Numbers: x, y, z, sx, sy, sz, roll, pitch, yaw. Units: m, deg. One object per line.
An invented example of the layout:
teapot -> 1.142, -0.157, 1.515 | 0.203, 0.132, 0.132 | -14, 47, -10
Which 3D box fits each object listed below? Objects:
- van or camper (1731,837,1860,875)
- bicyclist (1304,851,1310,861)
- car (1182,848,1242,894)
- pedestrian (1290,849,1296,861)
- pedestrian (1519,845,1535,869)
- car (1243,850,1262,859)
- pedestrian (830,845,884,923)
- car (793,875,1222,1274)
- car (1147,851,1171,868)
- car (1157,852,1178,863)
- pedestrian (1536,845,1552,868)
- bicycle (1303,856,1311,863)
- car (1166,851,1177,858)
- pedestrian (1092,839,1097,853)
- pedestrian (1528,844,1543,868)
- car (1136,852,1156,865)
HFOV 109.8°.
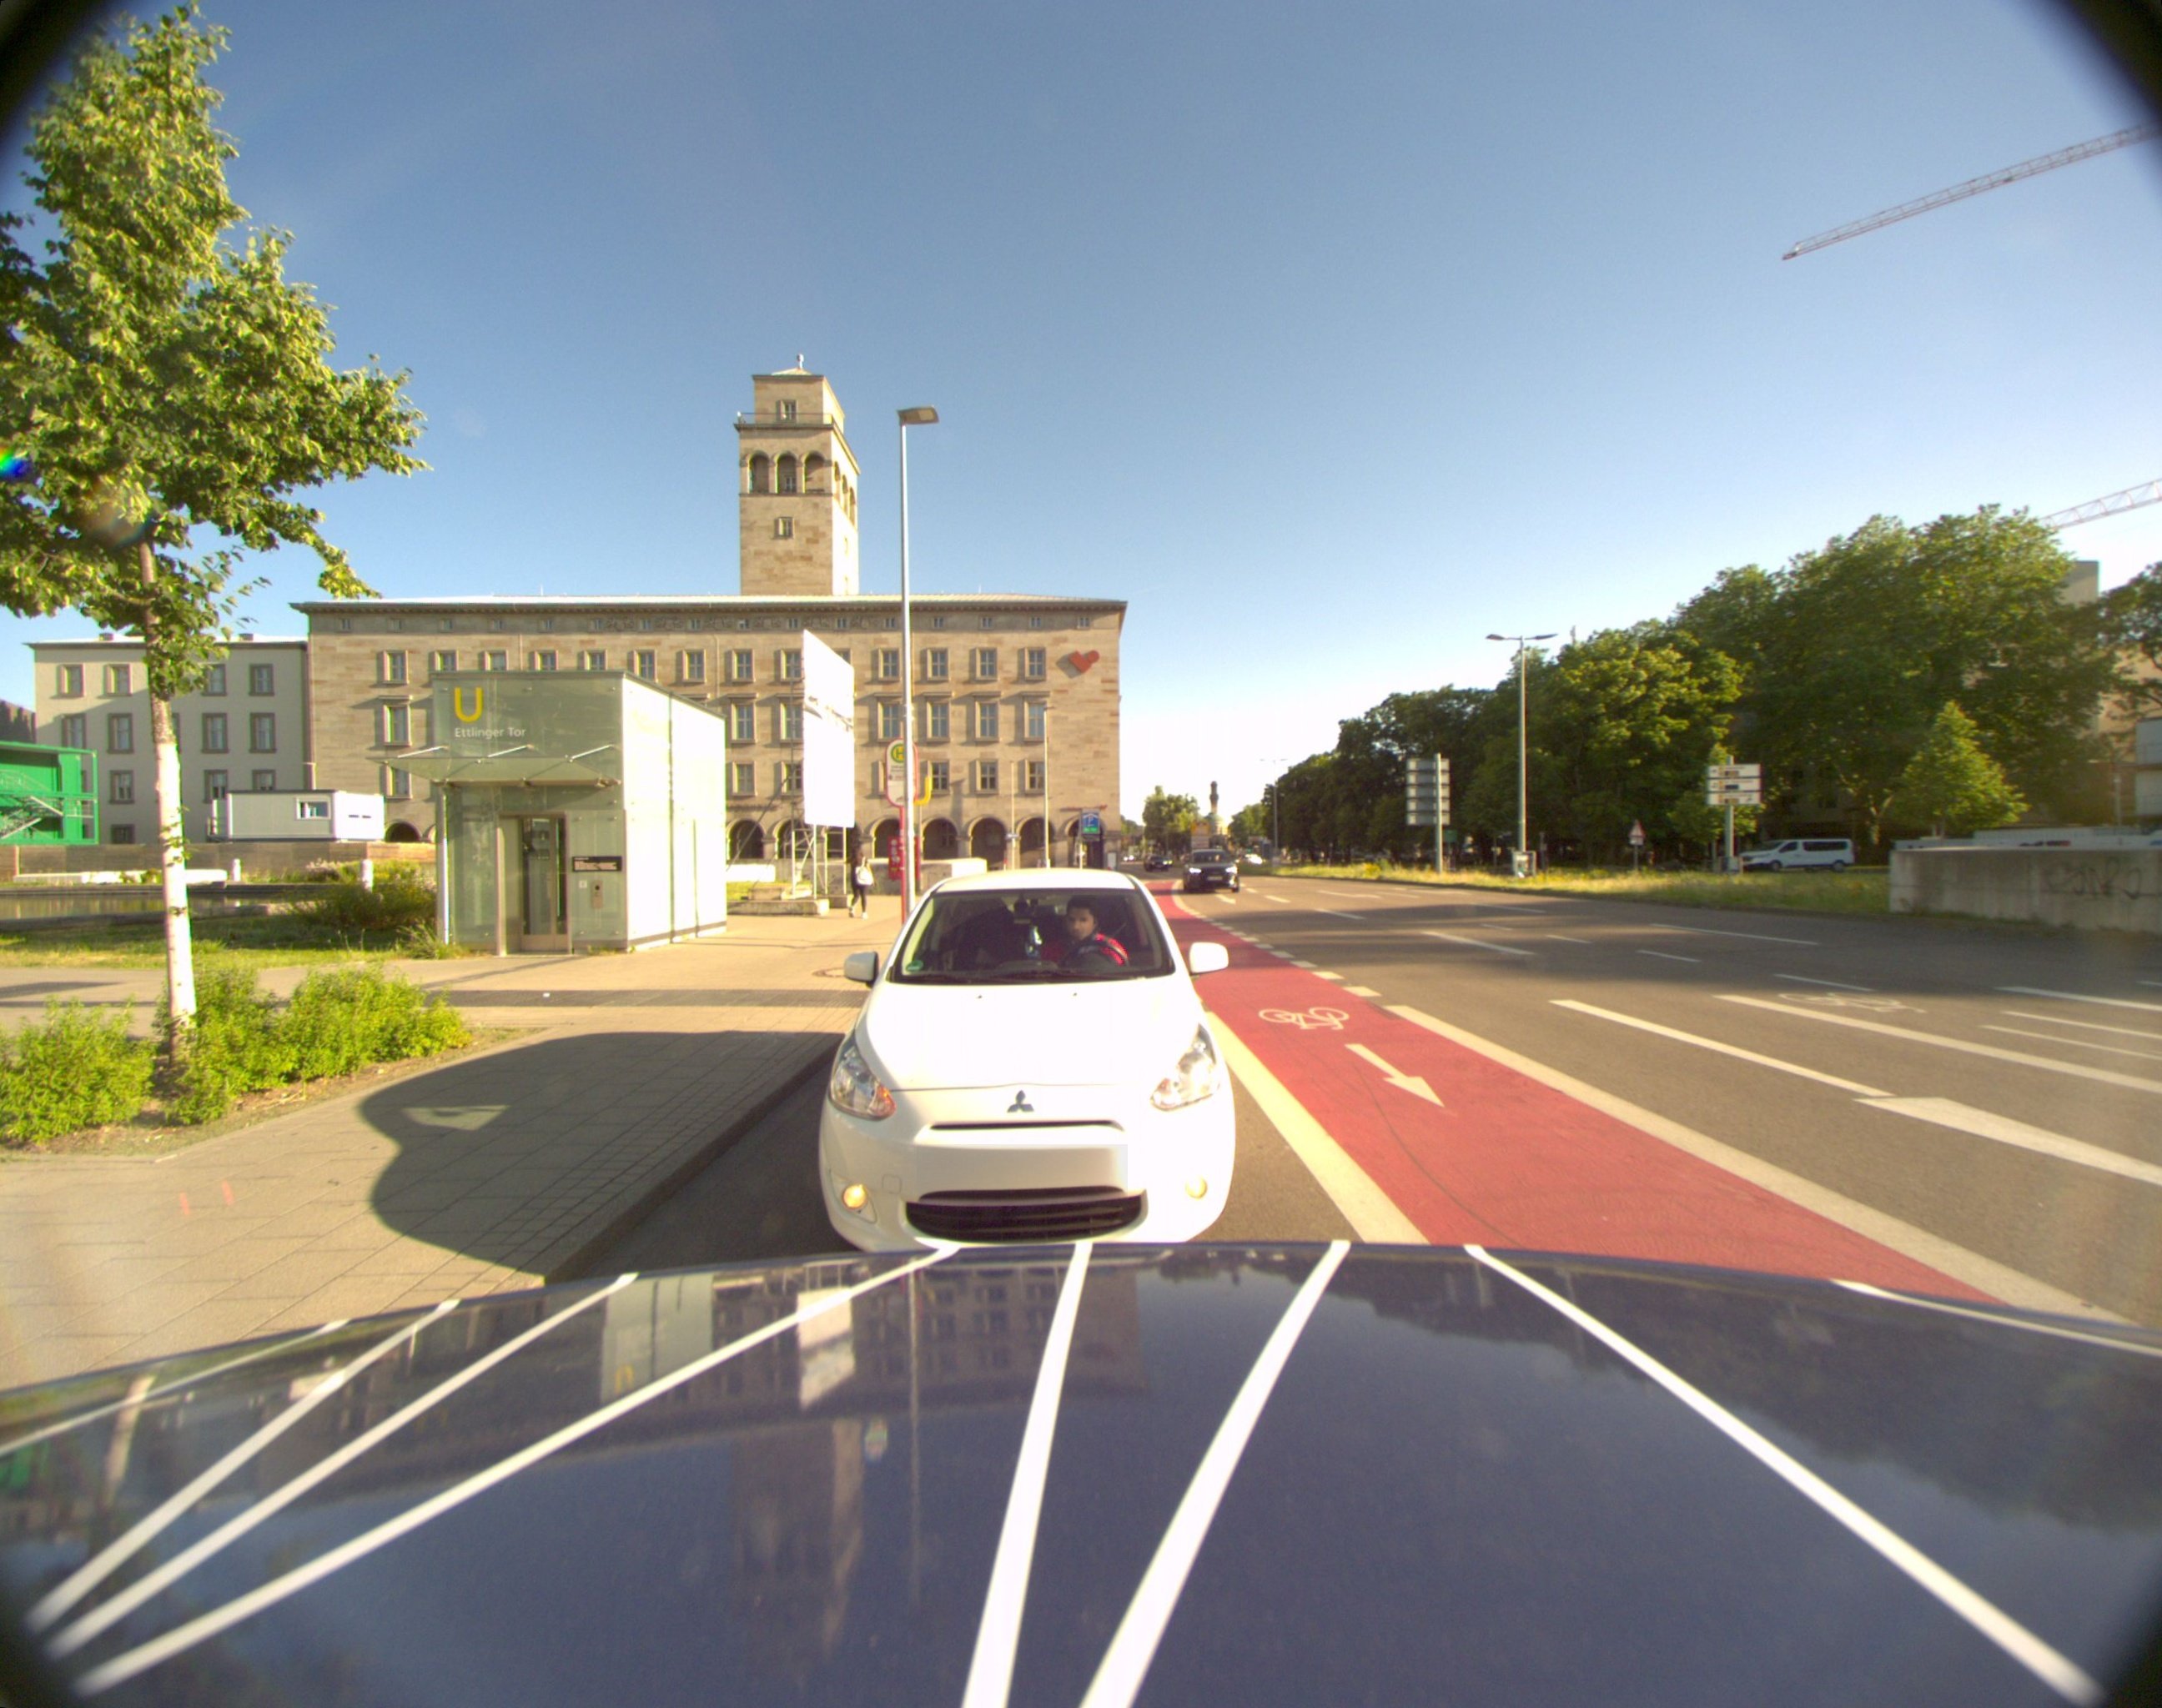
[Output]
van or camper -> 42.300, 0.086, 45.079 | 5.649, 2.002, 1.948 | -2, 1, 2
bicyclist -> 31.776, 0.281, 106.975 | 0.610, 1.274, 0.715 | -1, 1, -1
car -> 5.050, 0.621, 29.819 | 1.936, 1.634, 4.618 | -1, 0, 5
pedestrian -> 31.780, 0.143, 113.896 | 0.628, 1.837, 0.925 | -1, 1, -1
pedestrian -> 32.132, 0.198, 54.731 | 0.707, 1.715, 0.762 | -1, 1, 1
car -> 30.893, 0.078, 136.765 | 1.994, 1.499, 4.008 | 0, 0, 36
pedestrian -> -5.280, 0.688, 17.944 | 0.942, 1.776, 1.072 | 0, 1, 1
car -> -0.174, 0.955, 4.979 | 1.678, 1.440, 3.890 | -2, 0, 4
car -> 8.076, 0.511, 78.942 | 1.999, 1.709, 4.325 | -1, 0, -1
car -> 11.133, 0.442, 97.958 | 1.999, 1.398, 4.488 | -2, 0, -1
pedestrian -> 33.706, 0.179, 55.276 | 0.707, 1.715, 0.762 | -1, 1, 3
bicycle -> 31.780, 0.777, 106.984 | 0.610, 0.838, 1.745 | -1, 0, -1
car -> 19.260, 0.066, 161.527 | 1.872, 1.390, 3.999 | -1, 0, -1
pedestrian -> 1.791, -1.058, 100.275 | 0.704, 1.843, 0.828 | -1, 1, 0
pedestrian -> 32.992, 0.153, 55.133 | 0.665, 1.715, 0.762 | -1, 1, 1
car -> 8.093, 0.530, 94.663 | 1.998, 1.398, 4.488 | -2, 0, 0
